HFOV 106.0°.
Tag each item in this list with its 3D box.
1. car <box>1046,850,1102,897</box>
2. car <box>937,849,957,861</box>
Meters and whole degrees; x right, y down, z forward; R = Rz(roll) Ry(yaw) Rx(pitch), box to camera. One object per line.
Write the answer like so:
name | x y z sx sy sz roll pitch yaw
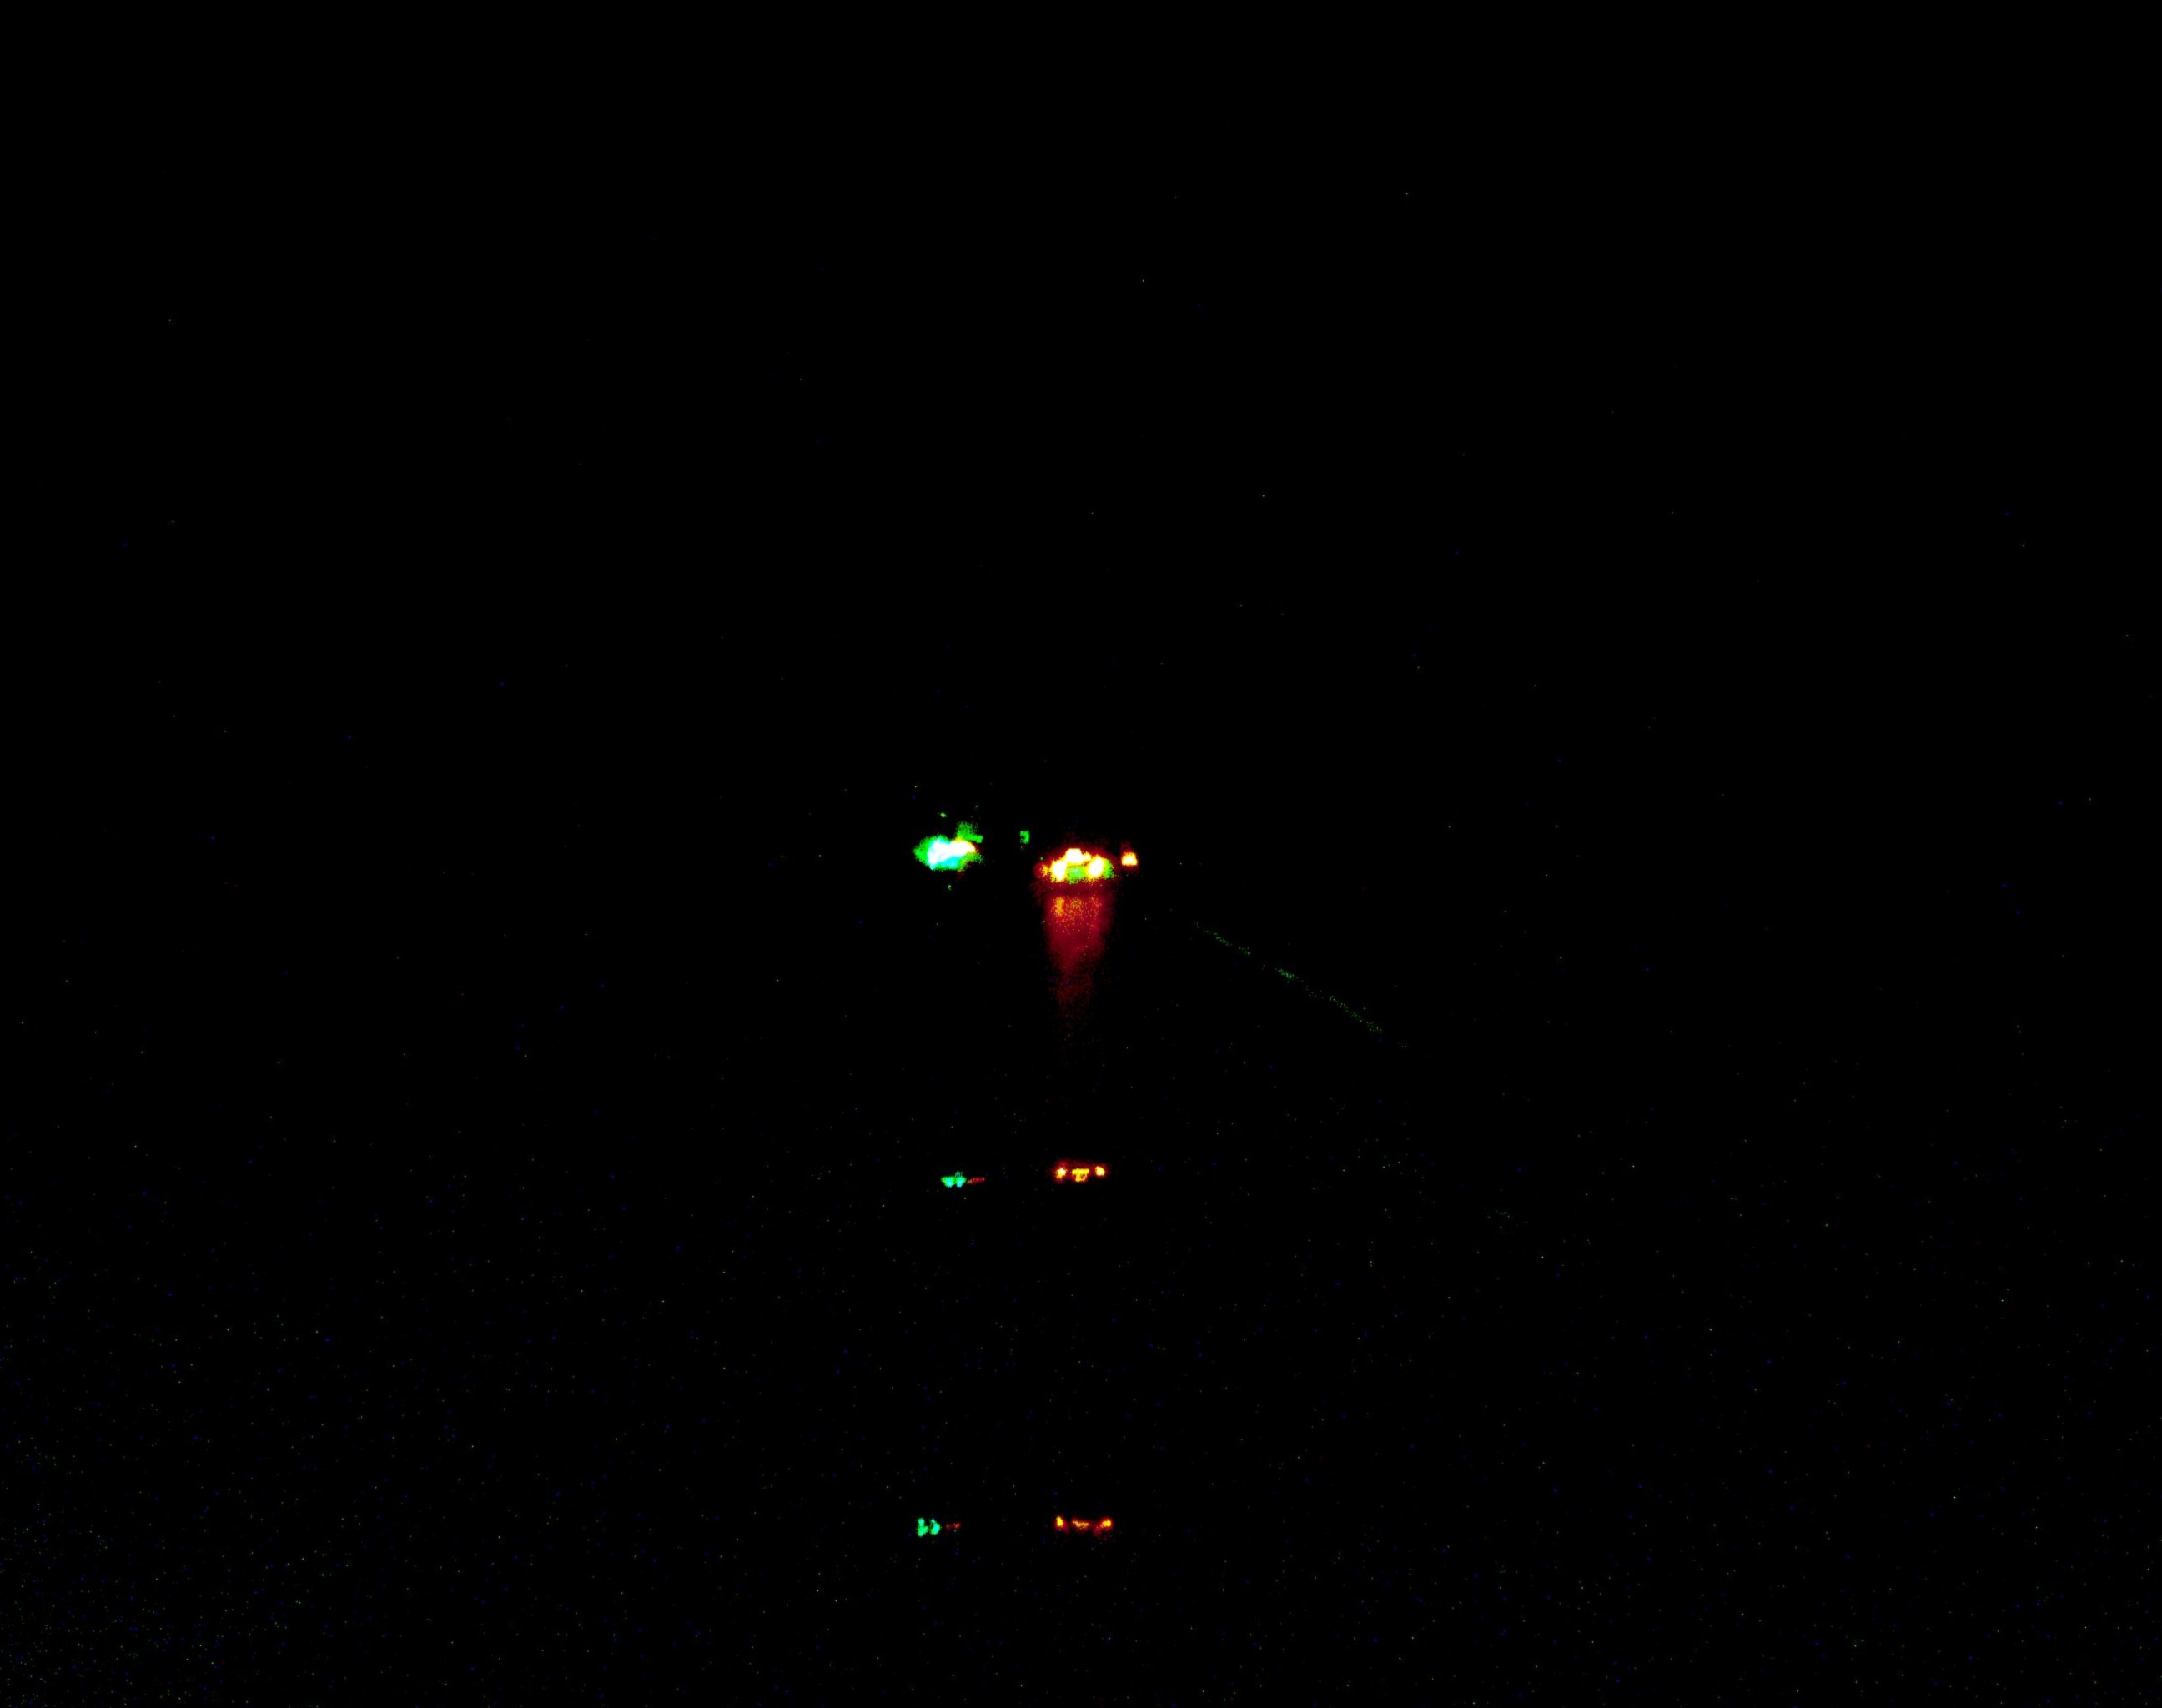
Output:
car | -0.346 0.712 32.336 1.989 1.628 4.979 0 1 -3
car | -19.157 0.197 115.958 1.937 1.584 4.952 -3 1 -19
